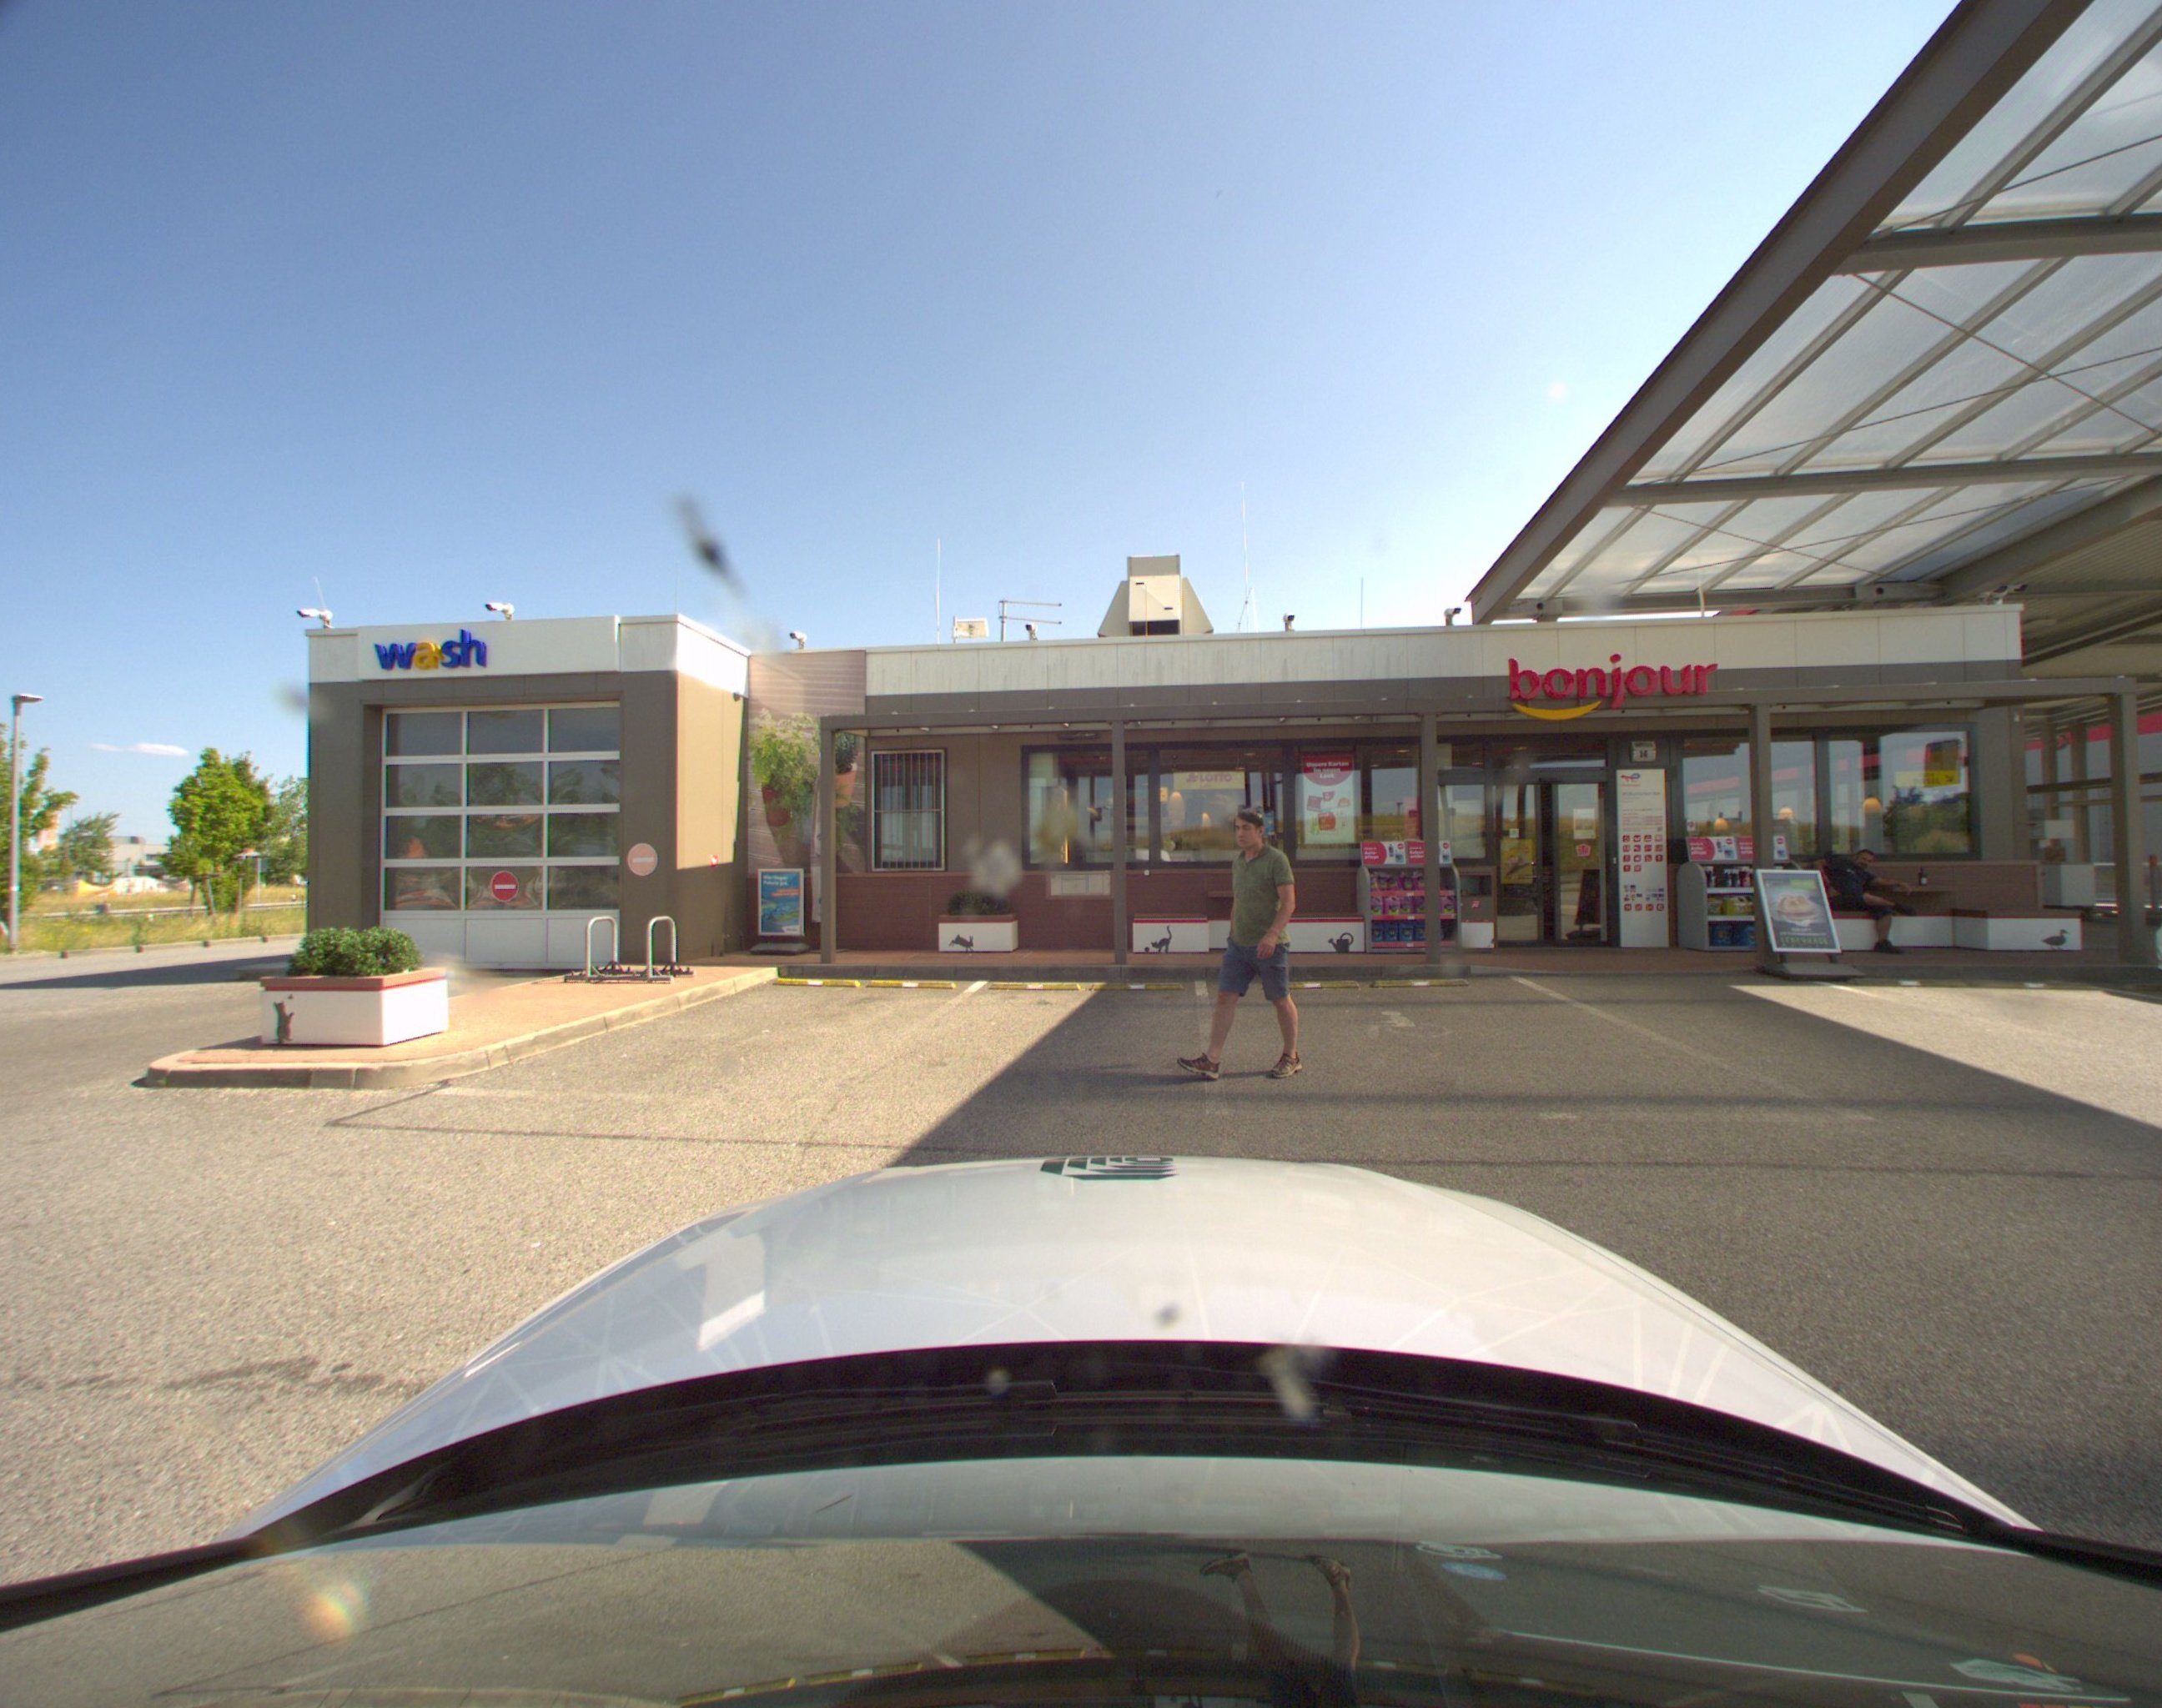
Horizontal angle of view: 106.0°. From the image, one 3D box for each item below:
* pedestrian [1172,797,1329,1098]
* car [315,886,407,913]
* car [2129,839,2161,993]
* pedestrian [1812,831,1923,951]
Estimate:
[{"bbox_3d":[1.144,0.562,5.431,0.694,1.797,0.868,-1,-1,36],"label":"pedestrian"},{"bbox_3d":[-48.673,3.050,55.172,1.930,1.604,4.437,-1,-1,8],"label":"car"},{"bbox_3d":[11.134,0.560,5.785,1.824,1.457,4.321,-1,0,0],"label":"car"},{"bbox_3d":[9.725,0.445,10.095,0.698,1.432,0.674,-1,-1,5],"label":"pedestrian"}]
